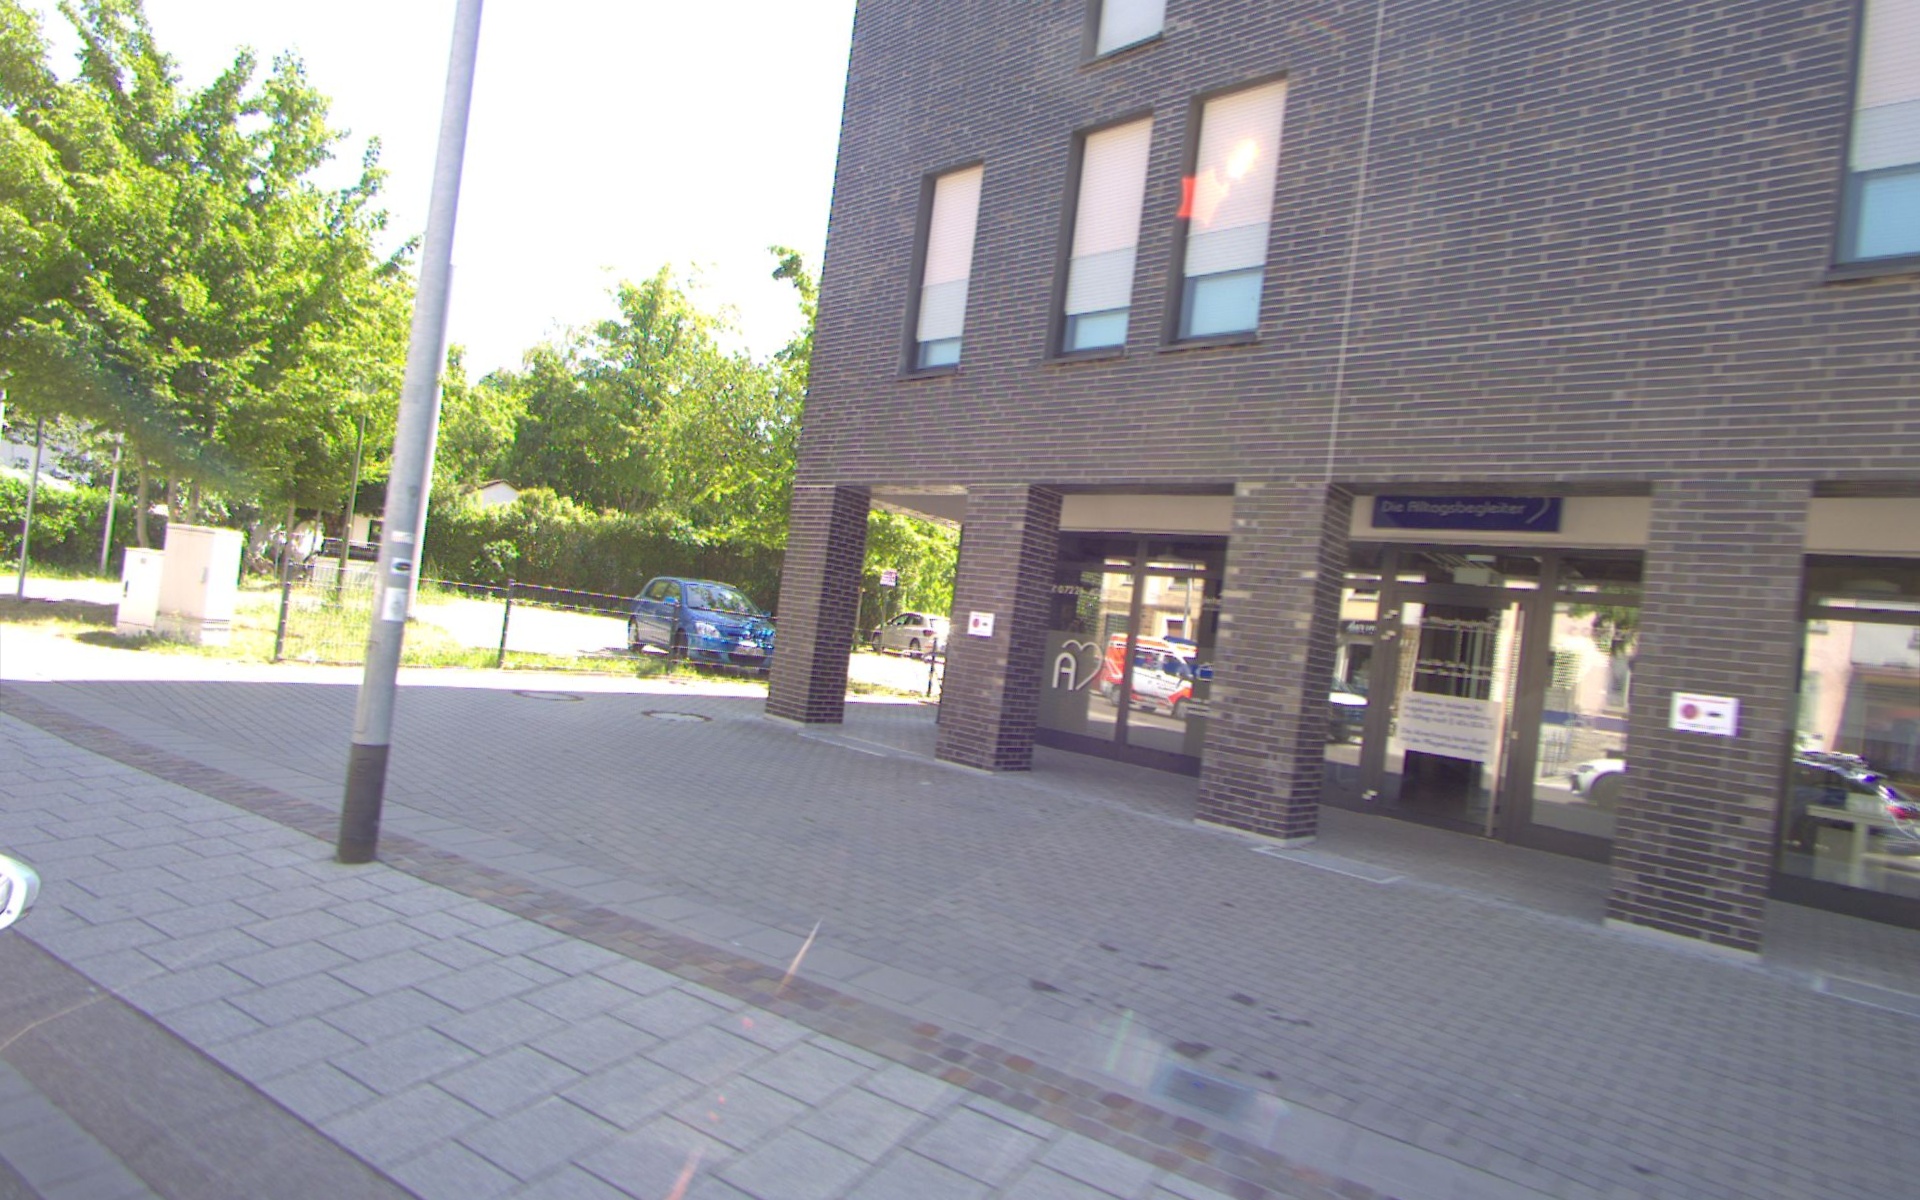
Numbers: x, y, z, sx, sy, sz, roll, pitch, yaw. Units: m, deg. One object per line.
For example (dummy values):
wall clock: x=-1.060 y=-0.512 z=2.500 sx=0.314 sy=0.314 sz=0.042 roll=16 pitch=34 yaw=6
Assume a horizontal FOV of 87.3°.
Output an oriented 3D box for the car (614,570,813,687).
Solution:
car: x=-4.425 y=0.432 z=17.602 sx=1.803 sy=1.457 sz=4.132 roll=10 pitch=-2 yaw=-36

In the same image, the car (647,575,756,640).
car: x=-7.519 y=0.180 z=28.988 sx=1.857 sy=1.458 sz=3.968 roll=8 pitch=-1 yaw=-31

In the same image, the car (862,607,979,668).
car: x=-1.333 y=1.175 z=32.243 sx=1.858 sy=1.458 sz=3.965 roll=8 pitch=-1 yaw=-33
